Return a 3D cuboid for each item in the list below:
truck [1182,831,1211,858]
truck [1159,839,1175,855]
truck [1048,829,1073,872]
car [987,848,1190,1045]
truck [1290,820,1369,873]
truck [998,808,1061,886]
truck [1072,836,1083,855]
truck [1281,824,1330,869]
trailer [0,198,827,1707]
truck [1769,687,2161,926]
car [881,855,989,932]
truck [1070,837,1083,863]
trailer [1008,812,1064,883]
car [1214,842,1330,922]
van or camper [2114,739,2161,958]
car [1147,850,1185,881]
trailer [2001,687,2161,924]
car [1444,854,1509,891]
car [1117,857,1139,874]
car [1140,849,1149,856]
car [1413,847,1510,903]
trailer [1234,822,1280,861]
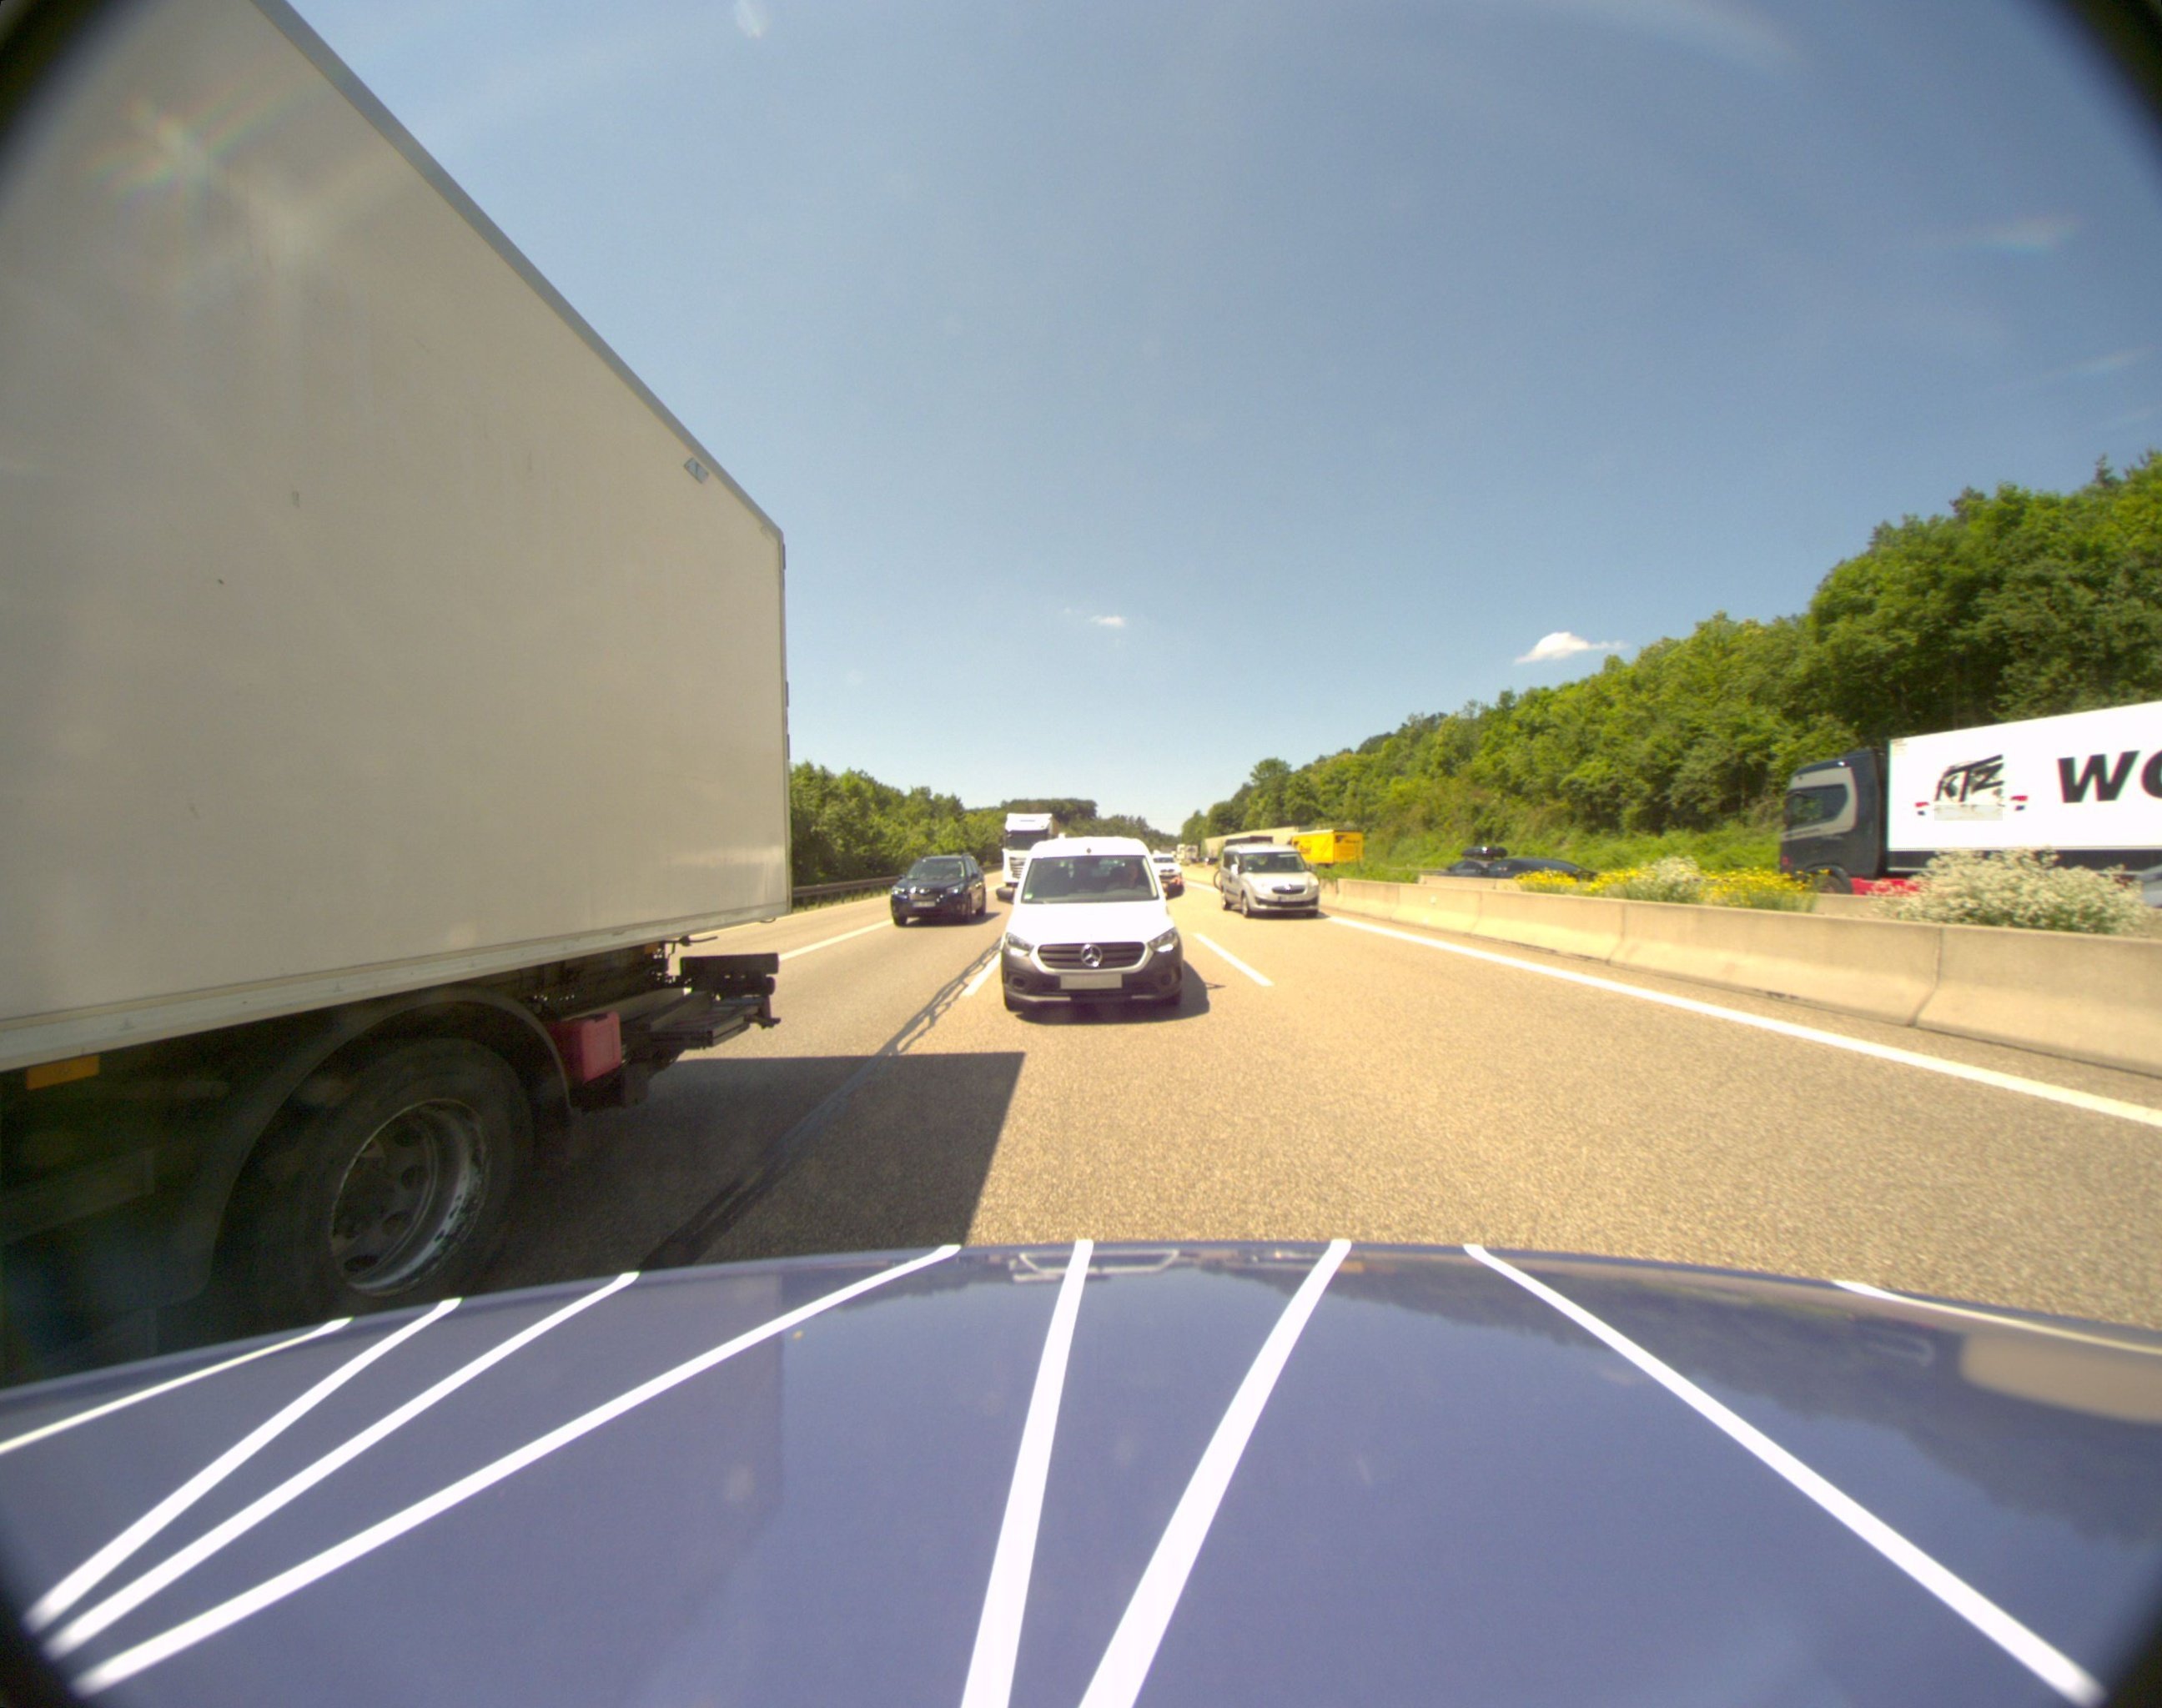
[{"bbox_3d":[21.438,-1.580,141.514,3.277,4.518,14.102,-2,-1,1],"label":"truck"},{"bbox_3d":[25.645,-1.991,226.523,3.277,4.518,14.102,-2,-1,1],"label":"truck"},{"bbox_3d":[-2.262,-0.315,85.359,2.394,4.437,10.869,-2,-1,0],"label":"truck"},{"bbox_3d":[0.098,0.816,8.974,1.756,1.681,4.364,-2,1,1],"label":"car"},{"bbox_3d":[23.750,-0.729,73.742,3.099,4.519,14.098,-2,1,1],"label":"truck"},{"bbox_3d":[-2.815,-0.405,43.838,2.766,4.060,7.333,-2,1,1],"label":"truck"},{"bbox_3d":[-0.792,-1.854,173.742,2.187,4.072,10.869,-2,-1,0],"label":"truck"},{"bbox_3d":[23.846,-0.815,81.110,3.099,4.519,7.093,-2,1,1],"label":"truck"},{"bbox_3d":[-3.219,0.279,1.598,2.562,2.882,7.882,-2,0,0],"label":"trailer"},{"bbox_3d":[19.083,-0.860,15.819,2.947,3.897,7.215,-2,1,0],"label":"truck"},{"bbox_3d":[-3.602,0.906,19.632,1.999,1.682,4.609,-1,1,-2],"label":"car"},{"bbox_3d":[-0.835,-0.573,137.309,2.187,4.437,10.869,-2,-1,0],"label":"truck"},{"bbox_3d":[-2.710,-0.434,49.684,2.766,4.060,11.616,0,1,1],"label":"trailer"},{"bbox_3d":[4.818,0.614,19.885,1.857,1.762,4.917,-2,1,1],"label":"car"},{"bbox_3d":[15.297,-0.080,7.003,2.400,2.859,6.711,-2,1,0],"label":"van or camper"},{"bbox_3d":[5.050,0.676,45.708,1.824,1.696,3.999,-2,1,1],"label":"car"},{"bbox_3d":[19.044,-0.794,8.802,3.004,3.849,11.399,-2,1,0],"label":"trailer"},{"bbox_3d":[23.357,1.036,45.009,1.998,2.002,4.001,-2,1,5],"label":"car"},{"bbox_3d":[5.242,1.260,85.433,1.999,1.747,3.998,-2,1,-3],"label":"car"},{"bbox_3d":[18.149,-0.436,217.024,1.998,2.001,4.001,-2,-1,1],"label":"car"},{"bbox_3d":[14.927,0.766,30.069,1.998,2.002,4.000,-2,1,3],"label":"car"},{"bbox_3d":[20.148,-1.400,87.461,3.443,4.170,7.896,-2,1,0],"label":"trailer"}]
